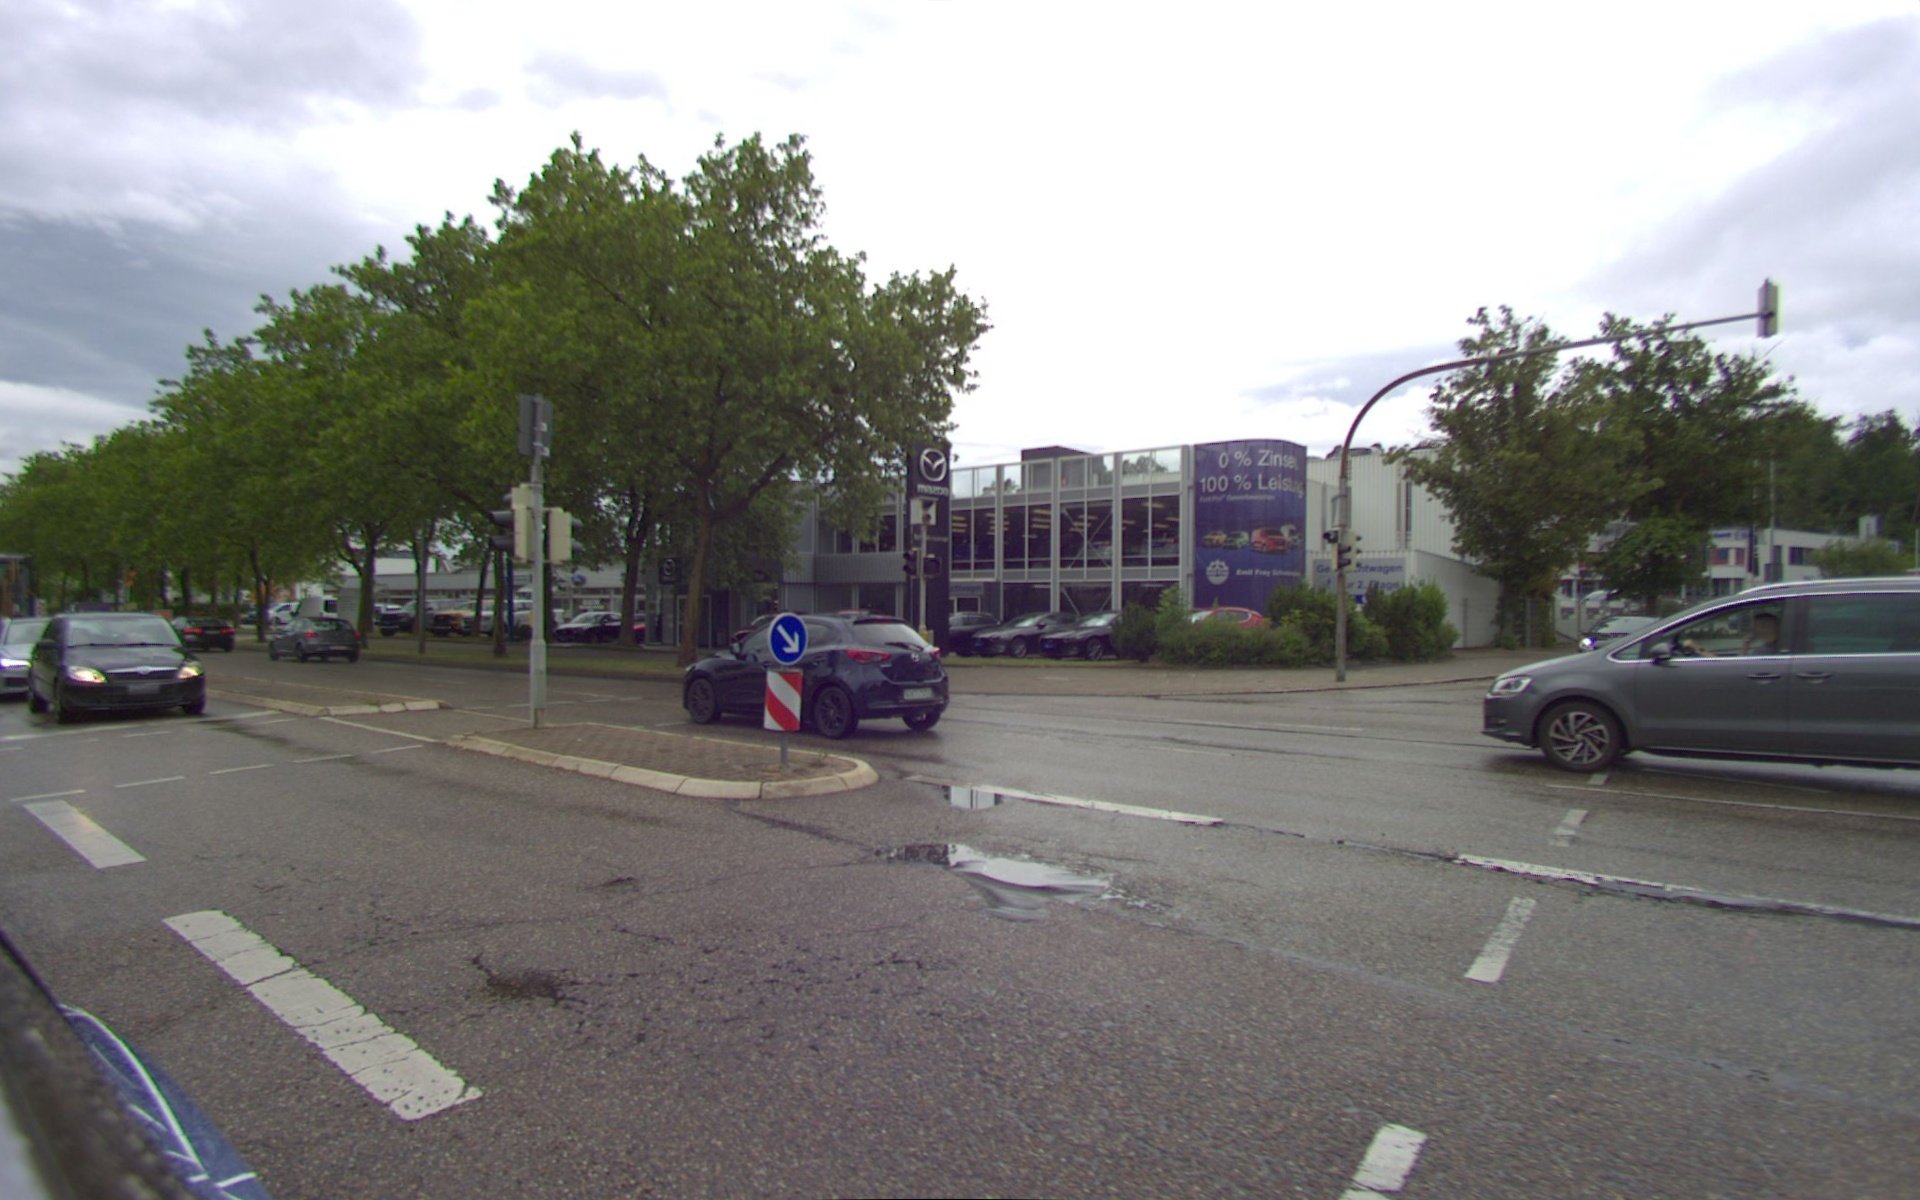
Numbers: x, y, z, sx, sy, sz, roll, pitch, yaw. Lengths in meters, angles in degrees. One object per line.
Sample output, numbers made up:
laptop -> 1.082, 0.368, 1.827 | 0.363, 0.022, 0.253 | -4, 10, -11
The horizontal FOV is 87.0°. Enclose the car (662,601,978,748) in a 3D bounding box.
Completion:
car -> -1.862, 0.857, 12.869 | 3.994, 1.592, 1.694 | -1, -2, 38

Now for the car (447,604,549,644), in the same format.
car -> -22.015, 1.111, 48.438 | 1.984, 1.829, 4.441 | -1, -1, 18

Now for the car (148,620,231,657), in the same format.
car -> -30.707, 1.525, 40.291 | 4.170, 1.393, 1.693 | -1, -3, 39

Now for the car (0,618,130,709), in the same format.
car -> -16.879, 1.066, 18.610 | 4.778, 1.469, 1.747 | -1, -1, 41

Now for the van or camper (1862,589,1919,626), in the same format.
van or camper -> 53.720, 0.416, 56.736 | 1.824, 2.061, 4.592 | 1, -2, -44

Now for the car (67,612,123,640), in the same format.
car -> -47.270, 1.422, 55.291 | 4.082, 1.476, 1.692 | -1, -2, 40

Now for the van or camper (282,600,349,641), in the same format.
van or camper -> -41.671, 1.278, 65.392 | 6.399, 2.489, 1.972 | -1, 1, 42

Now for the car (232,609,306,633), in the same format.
car -> -60.325, 1.828, 88.420 | 2.128, 2.029, 4.995 | -1, -1, 39

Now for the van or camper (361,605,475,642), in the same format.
van or camper -> -28.179, 1.184, 52.850 | 2.246, 1.835, 5.272 | -1, -1, 16

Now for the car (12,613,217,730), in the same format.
car -> -12.544, 0.951, 14.932 | 4.075, 1.501, 1.695 | -1, -1, 41

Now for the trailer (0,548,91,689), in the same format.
trailer -> -21.837, 0.408, 22.969 | 5.541, 2.919, 2.348 | -1, -1, 40

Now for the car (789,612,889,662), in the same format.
car -> -4.232, 1.301, 36.185 | 1.996, 1.665, 4.207 | 0, -2, 18

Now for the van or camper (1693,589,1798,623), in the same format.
van or camper -> 47.805, 0.392, 61.748 | 4.760, 2.029, 1.960 | -1, -1, 30

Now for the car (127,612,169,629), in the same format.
car -> -75.949, 1.895, 94.635 | 5.243, 1.507, 2.096 | -1, -1, 41

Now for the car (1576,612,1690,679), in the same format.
car -> 16.551, 1.062, 24.814 | 1.817, 1.500, 3.937 | -1, -1, 41

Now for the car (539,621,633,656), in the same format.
car -> -17.200, 1.745, 46.785 | 1.980, 1.461, 4.450 | -1, -1, 13

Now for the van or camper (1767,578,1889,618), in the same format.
van or camper -> 54.564, -0.103, 63.745 | 5.720, 2.374, 1.914 | -2, -2, 41

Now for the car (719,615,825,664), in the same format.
car -> -6.977, 1.422, 38.031 | 1.984, 1.608, 4.541 | -1, 0, 19

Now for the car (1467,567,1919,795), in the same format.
car -> 7.385, 0.641, 8.939 | 4.881, 1.740, 1.891 | -1, -1, 41

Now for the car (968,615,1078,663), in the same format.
car -> 2.014, 1.172, 31.448 | 1.687, 1.401, 3.706 | -1, -1, 36

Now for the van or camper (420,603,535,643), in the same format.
van or camper -> -24.216, 1.125, 51.010 | 2.088, 1.783, 5.342 | 3, 0, 18

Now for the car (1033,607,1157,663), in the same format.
car -> 3.962, 0.973, 29.160 | 1.876, 1.500, 3.943 | -1, -1, 36
